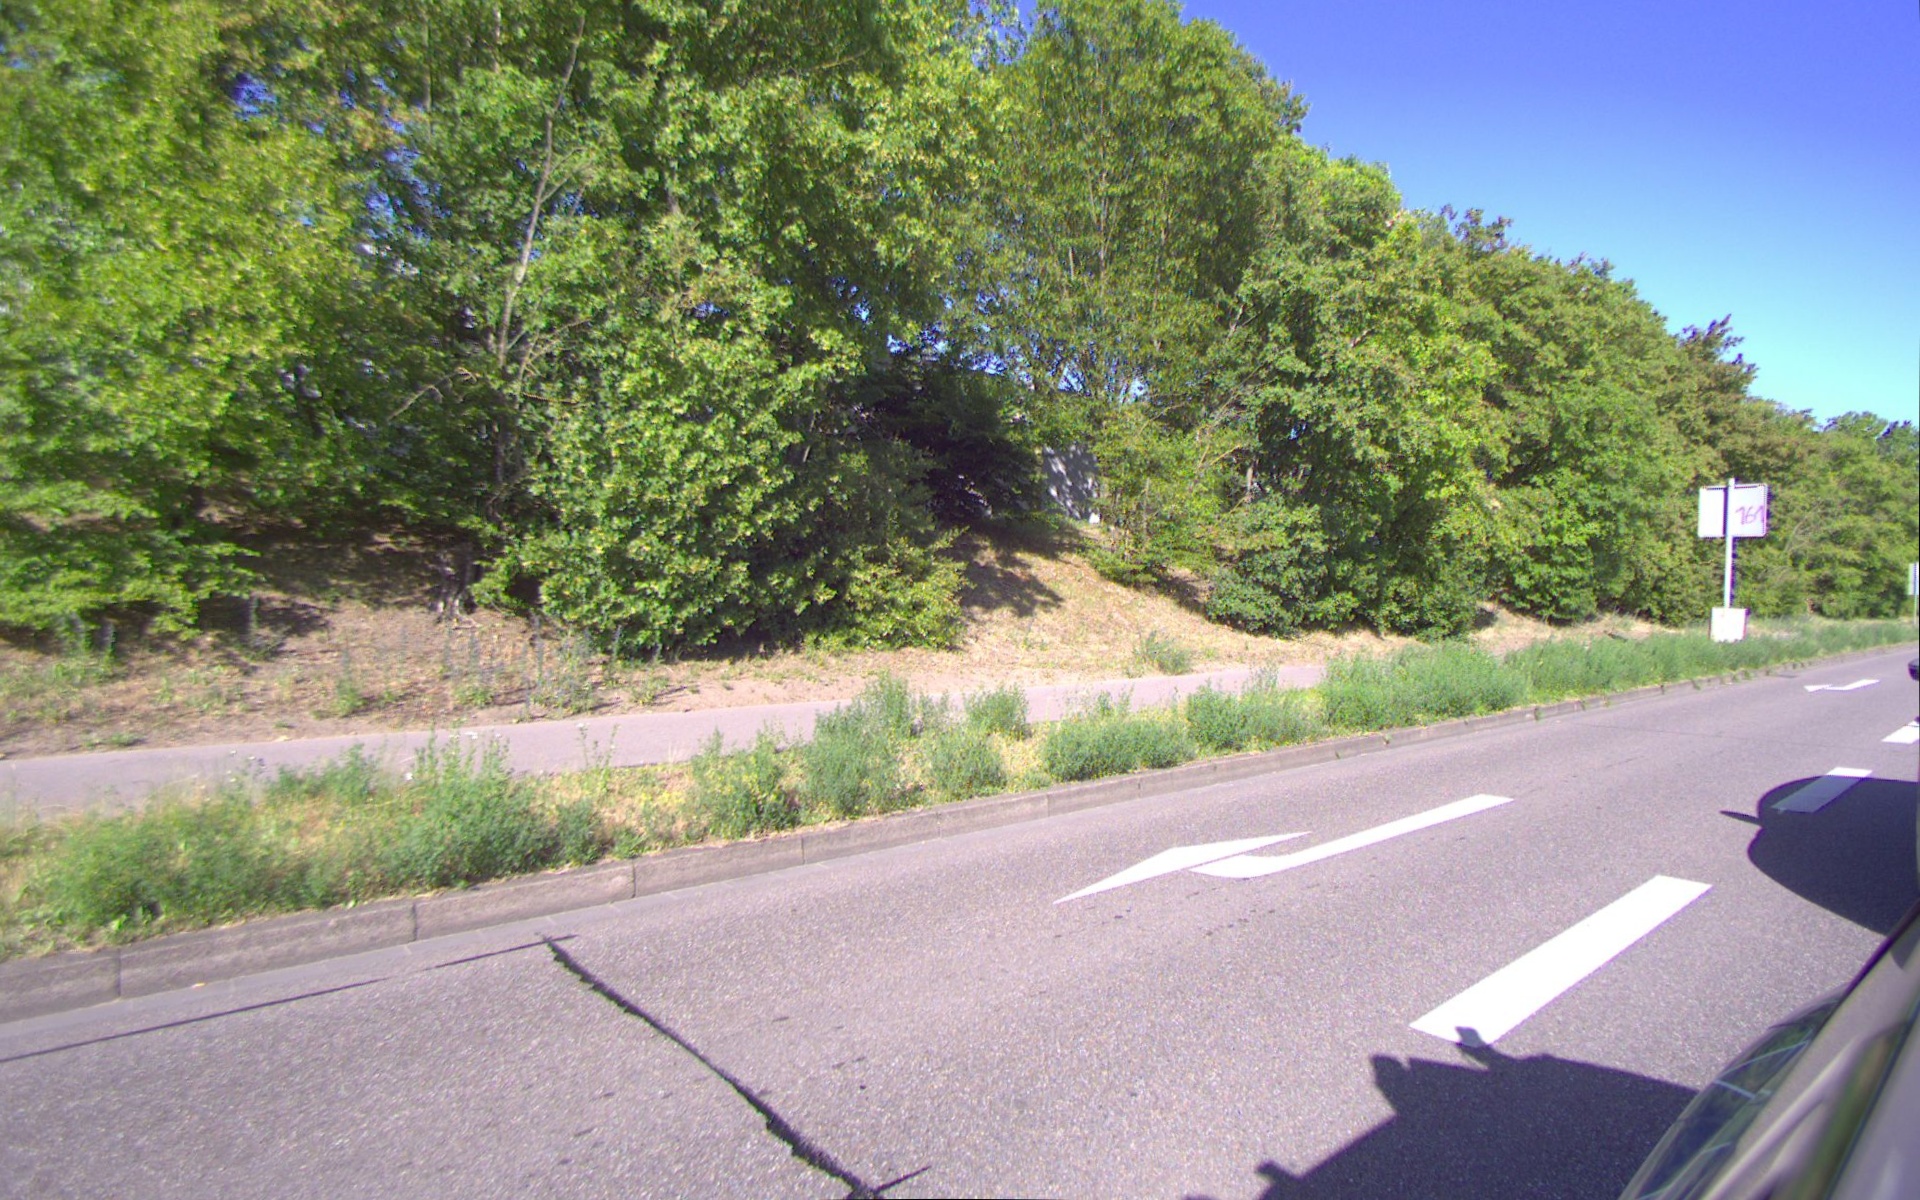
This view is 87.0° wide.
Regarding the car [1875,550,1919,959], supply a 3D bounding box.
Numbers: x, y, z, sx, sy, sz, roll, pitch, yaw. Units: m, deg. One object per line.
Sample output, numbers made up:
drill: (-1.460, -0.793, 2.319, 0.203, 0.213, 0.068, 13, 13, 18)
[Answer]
car: (5.920, 0.625, 4.693, 4.026, 1.631, 2.023, 0, 0, -41)
